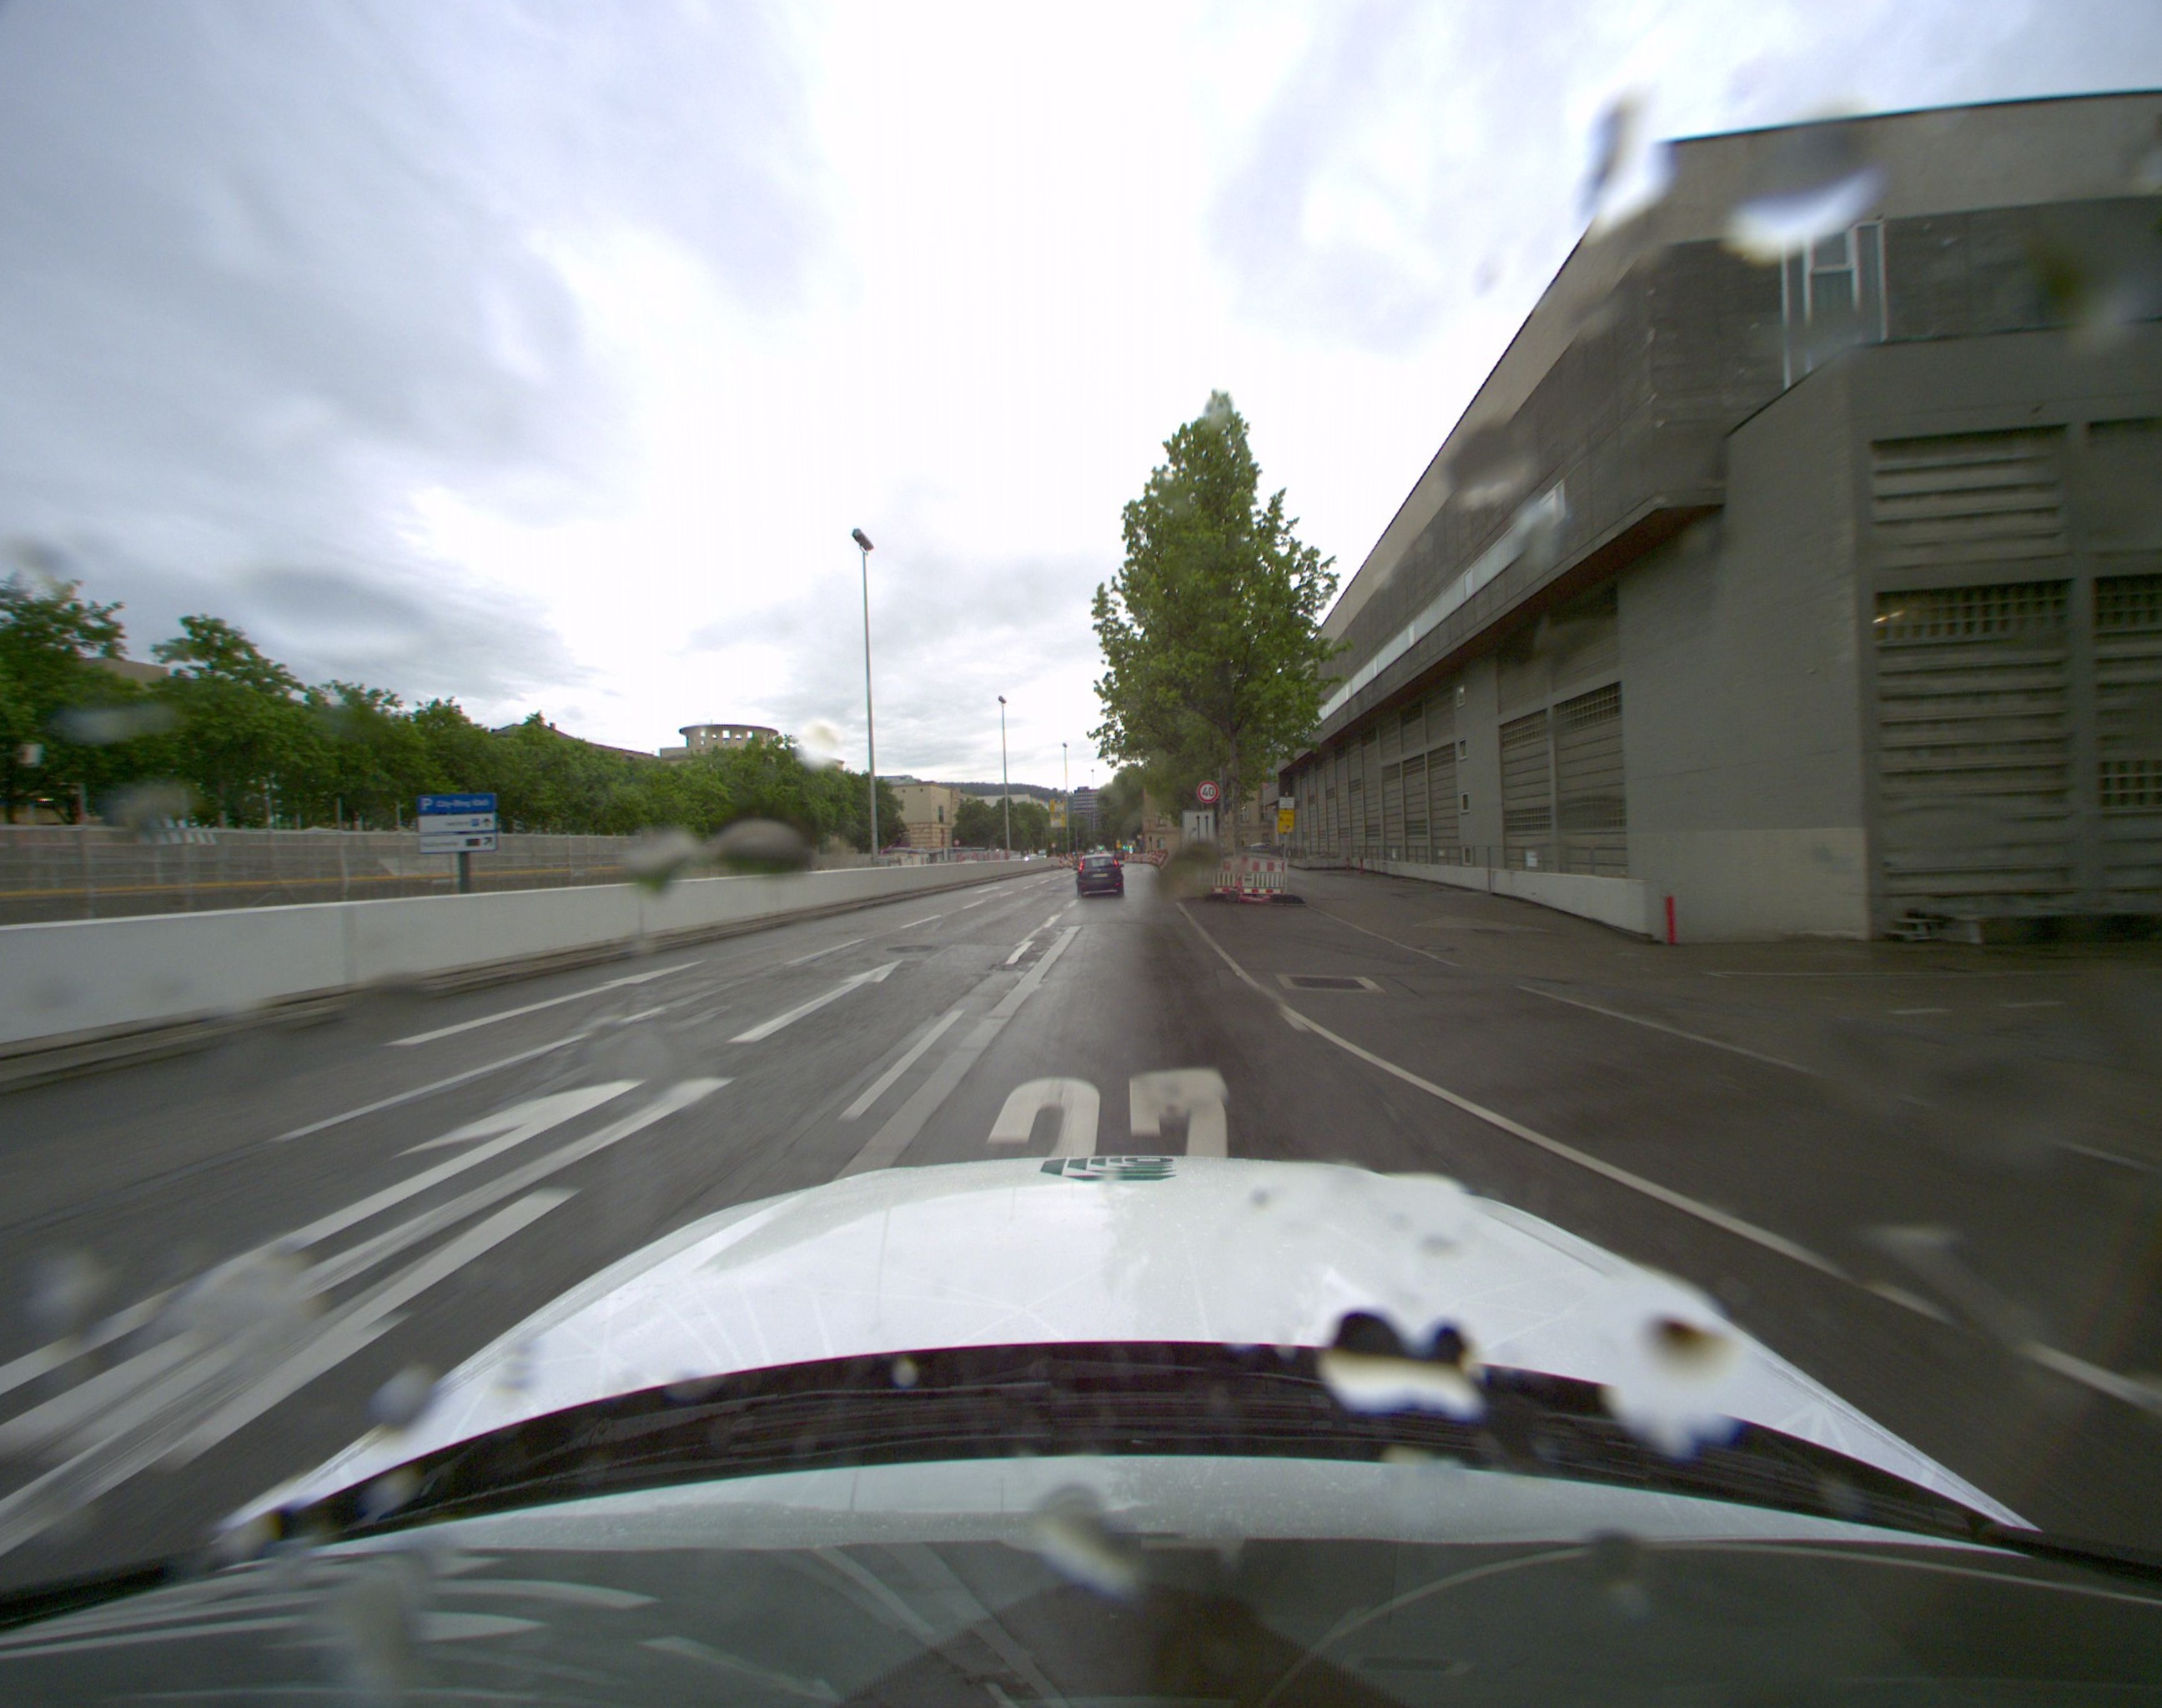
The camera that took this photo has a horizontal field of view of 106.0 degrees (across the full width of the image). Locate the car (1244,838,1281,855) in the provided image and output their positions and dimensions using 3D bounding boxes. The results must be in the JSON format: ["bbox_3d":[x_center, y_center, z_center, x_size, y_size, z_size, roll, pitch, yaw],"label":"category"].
[{"bbox_3d":[21.285,-0.871,95.781,3.968,1.559,1.935,-4,-3,4],"label":"car"}]

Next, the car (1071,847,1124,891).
[{"bbox_3d":[0.550,0.508,29.511,1.666,1.427,3.754,-2,0,-2],"label":"car"}]

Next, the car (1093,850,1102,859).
[{"bbox_3d":[4.031,0.076,198.933,1.987,2.014,3.998,0,-2,0],"label":"car"}]

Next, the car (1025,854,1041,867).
[{"bbox_3d":[-7.517,1.075,128.577,1.985,2.013,4.004,-1,0,4],"label":"car"}]

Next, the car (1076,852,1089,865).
[{"bbox_3d":[0.174,0.493,92.037,1.381,1.386,3.066,-3,-1,0],"label":"car"}]

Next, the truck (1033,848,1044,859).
[{"bbox_3d":[-9.739,-0.005,185.698,2.409,2.339,5.433,0,-2,-5],"label":"truck"}]

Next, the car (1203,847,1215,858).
[{"bbox_3d":[20.675,-0.280,131.553,1.982,1.709,4.010,-1,-1,9],"label":"car"}]

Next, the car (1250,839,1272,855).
[{"bbox_3d":[22.897,-0.860,103.630,1.984,1.760,5.103,-3,-2,5],"label":"car"}]

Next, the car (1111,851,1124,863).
[{"bbox_3d":[6.112,0.487,135.745,1.984,2.013,4.005,-1,1,4],"label":"car"}]

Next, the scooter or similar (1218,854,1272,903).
[{"bbox_3d":[4.374,0.645,21.809,1.349,1.286,0.620,0,-2,5],"label":"scooter or similar"}]
